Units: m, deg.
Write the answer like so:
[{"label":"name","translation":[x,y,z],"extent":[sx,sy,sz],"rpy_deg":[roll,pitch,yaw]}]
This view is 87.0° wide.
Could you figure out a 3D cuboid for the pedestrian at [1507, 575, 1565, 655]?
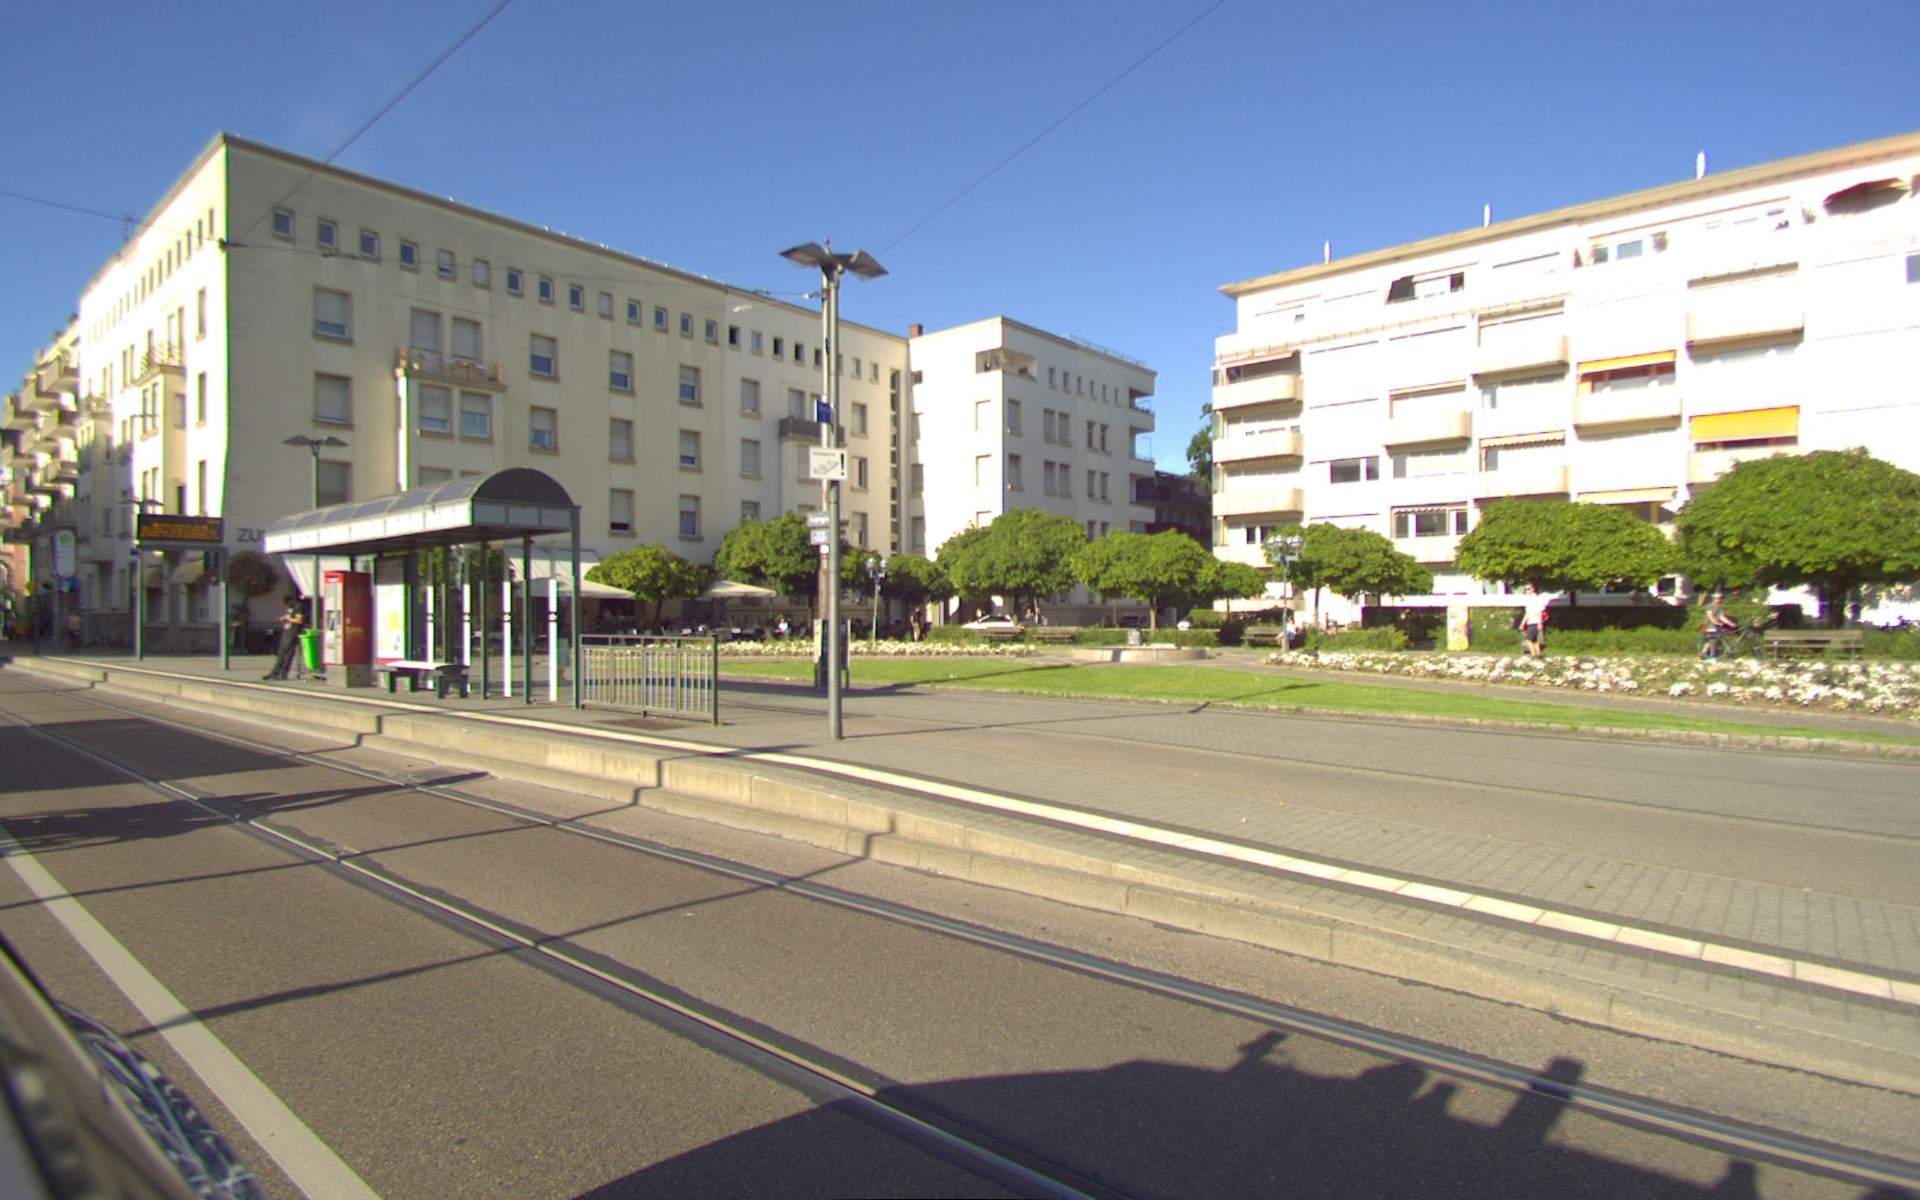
[{"label":"pedestrian","translation":[13.538,0.353,23.805],"extent":[0.932,1.831,0.871],"rpy_deg":[0,-1,-38]}]

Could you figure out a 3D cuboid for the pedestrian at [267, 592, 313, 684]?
[{"label":"pedestrian","translation":[-12.783,0.725,19.317],"extent":[0.607,1.731,0.542],"rpy_deg":[-1,-4,43]}]

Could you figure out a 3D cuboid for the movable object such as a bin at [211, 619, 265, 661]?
[{"label":"movable object such as a bin","translation":[-25.567,1.402,35.836],"extent":[1.127,1.410,1.302],"rpy_deg":[-1,-1,39]}]

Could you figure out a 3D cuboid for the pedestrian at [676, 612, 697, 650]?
[{"label":"pedestrian","translation":[-13.031,1.496,48.240],"extent":[0.677,1.750,0.671],"rpy_deg":[-3,-4,13]}]

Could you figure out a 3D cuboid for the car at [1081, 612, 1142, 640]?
[{"label":"car","translation":[8.127,1.390,54.287],"extent":[2.931,1.497,1.399],"rpy_deg":[-1,-1,41]}]

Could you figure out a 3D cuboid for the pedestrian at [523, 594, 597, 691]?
[{"label":"pedestrian","translation":[-7.224,0.756,18.285],"extent":[0.980,1.693,0.976],"rpy_deg":[1,-2,-40]}]

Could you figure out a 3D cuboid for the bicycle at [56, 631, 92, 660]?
[{"label":"bicycle","translation":[-35.685,1.831,40.738],"extent":[1.973,1.121,0.721],"rpy_deg":[-1,-1,37]}]

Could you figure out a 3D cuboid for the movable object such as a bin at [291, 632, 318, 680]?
[{"label":"movable object such as a bin","translation":[-12.059,1.025,18.625],"extent":[0.416,0.866,0.332],"rpy_deg":[-2,-2,44]}]

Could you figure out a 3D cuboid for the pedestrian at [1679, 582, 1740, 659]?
[{"label":"pedestrian","translation":[20.377,0.562,27.502],"extent":[1.232,2.029,1.207],"rpy_deg":[-1,-1,40]}]

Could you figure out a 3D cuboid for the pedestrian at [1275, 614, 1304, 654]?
[{"label":"pedestrian","translation":[11.412,1.164,35.013],"extent":[0.678,1.370,1.039],"rpy_deg":[-1,-1,36]}]

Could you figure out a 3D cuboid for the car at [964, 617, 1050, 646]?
[{"label":"car","translation":[2.214,1.470,48.221],"extent":[3.713,1.310,1.973],"rpy_deg":[-1,-1,41]}]

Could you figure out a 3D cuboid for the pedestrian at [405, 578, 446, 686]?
[{"label":"pedestrian","translation":[-9.457,0.566,17.907],"extent":[0.526,1.873,0.423],"rpy_deg":[-2,-4,44]}]

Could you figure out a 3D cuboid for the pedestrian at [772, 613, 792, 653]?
[{"label":"pedestrian","translation":[-7.987,1.490,45.445],"extent":[0.710,1.750,0.673],"rpy_deg":[-2,-4,1]}]

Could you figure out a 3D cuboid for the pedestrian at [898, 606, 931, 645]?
[{"label":"pedestrian","translation":[-2.154,1.197,48.100],"extent":[1.081,1.801,1.161],"rpy_deg":[-1,-1,41]}]

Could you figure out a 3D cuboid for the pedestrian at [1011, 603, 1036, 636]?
[{"label":"pedestrian","translation":[3.961,1.185,63.098],"extent":[1.090,2.029,1.079],"rpy_deg":[-1,-1,40]}]

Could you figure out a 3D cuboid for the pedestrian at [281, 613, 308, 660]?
[{"label":"pedestrian","translation":[-24.035,1.335,36.557],"extent":[0.662,1.657,0.753],"rpy_deg":[0,-4,-22]}]

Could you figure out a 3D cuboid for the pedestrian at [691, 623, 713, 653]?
[{"label":"pedestrian","translation":[-11.278,1.685,44.279],"extent":[0.672,1.280,0.636],"rpy_deg":[-5,-5,36]}]

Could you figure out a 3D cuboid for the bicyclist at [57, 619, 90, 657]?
[{"label":"bicyclist","translation":[-35.751,1.520,40.805],"extent":[0.875,1.466,0.820],"rpy_deg":[-1,0,36]}]
